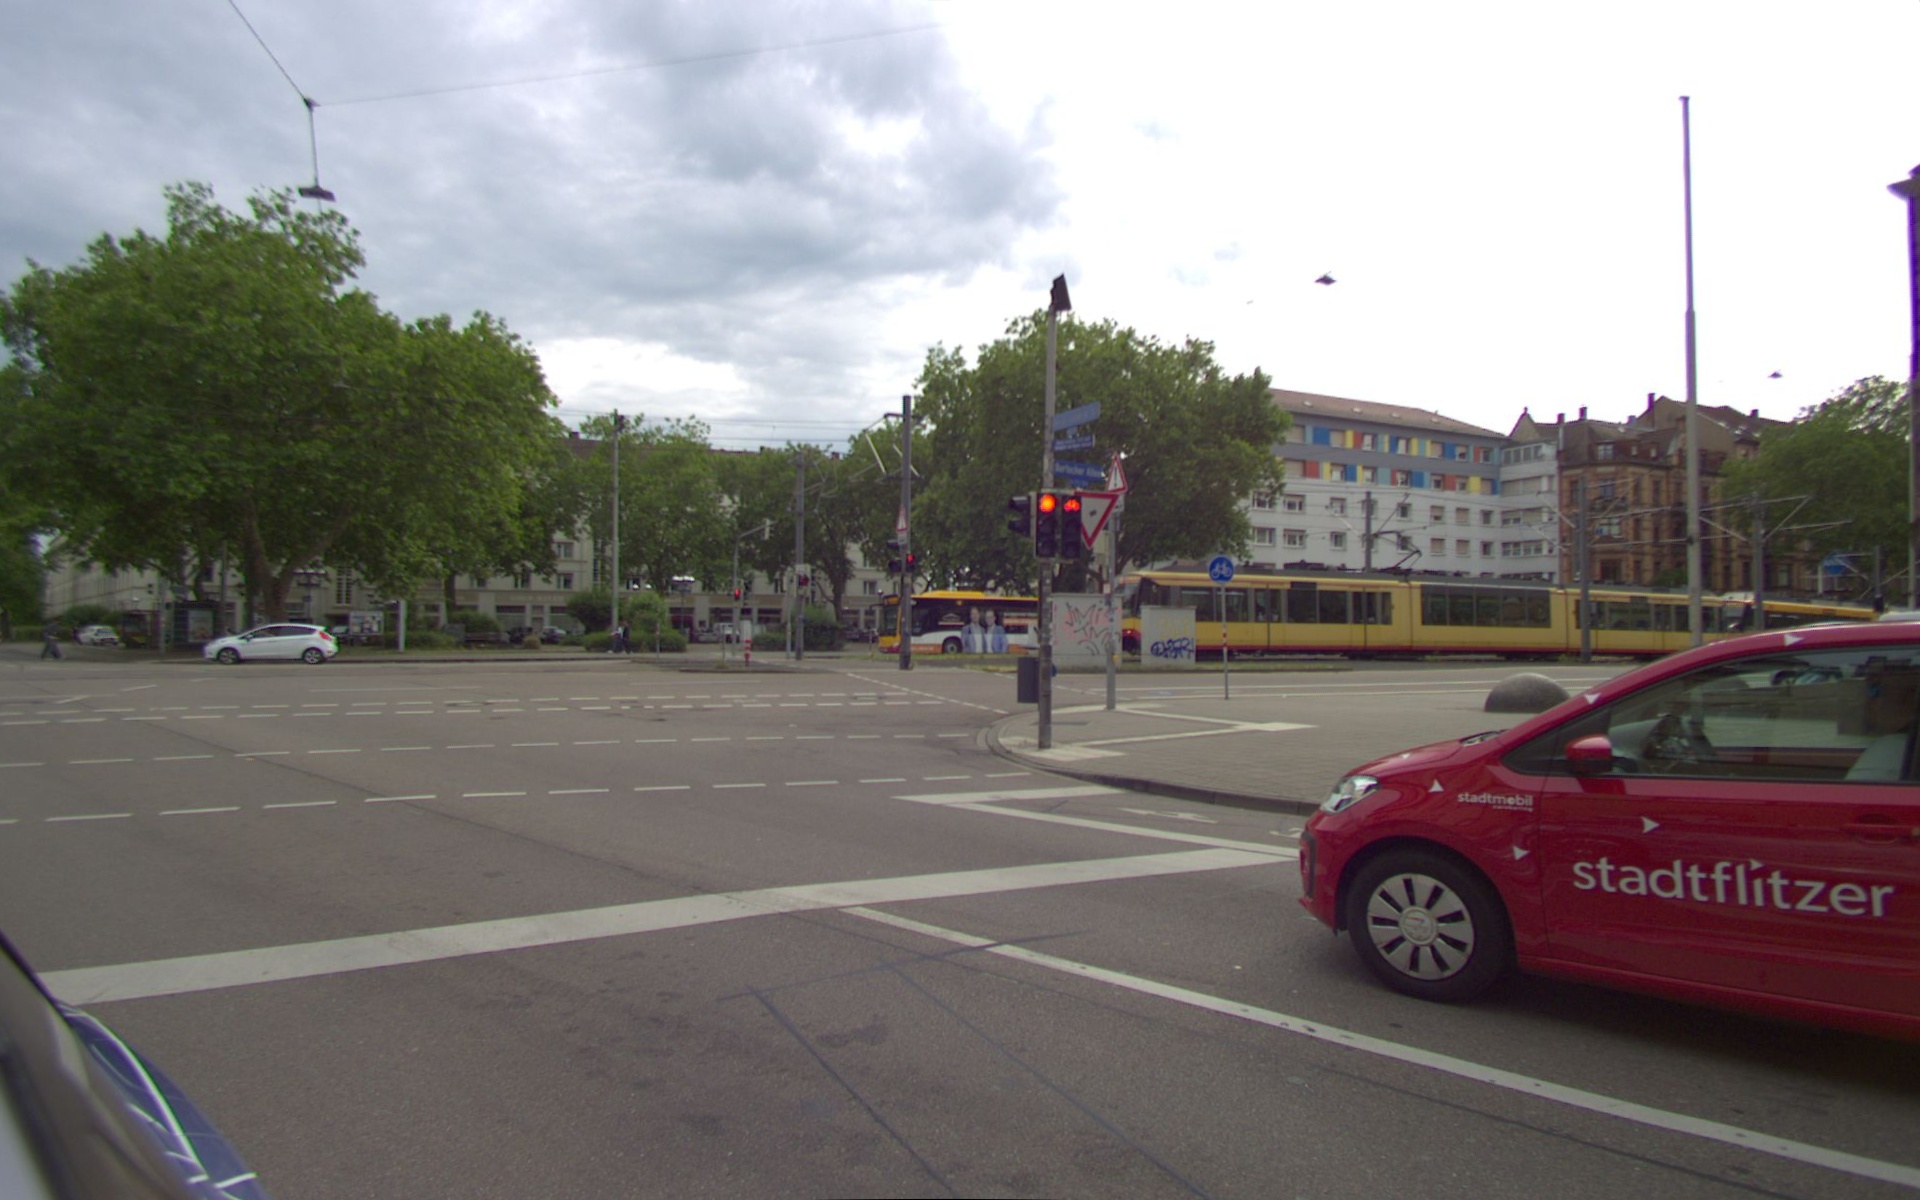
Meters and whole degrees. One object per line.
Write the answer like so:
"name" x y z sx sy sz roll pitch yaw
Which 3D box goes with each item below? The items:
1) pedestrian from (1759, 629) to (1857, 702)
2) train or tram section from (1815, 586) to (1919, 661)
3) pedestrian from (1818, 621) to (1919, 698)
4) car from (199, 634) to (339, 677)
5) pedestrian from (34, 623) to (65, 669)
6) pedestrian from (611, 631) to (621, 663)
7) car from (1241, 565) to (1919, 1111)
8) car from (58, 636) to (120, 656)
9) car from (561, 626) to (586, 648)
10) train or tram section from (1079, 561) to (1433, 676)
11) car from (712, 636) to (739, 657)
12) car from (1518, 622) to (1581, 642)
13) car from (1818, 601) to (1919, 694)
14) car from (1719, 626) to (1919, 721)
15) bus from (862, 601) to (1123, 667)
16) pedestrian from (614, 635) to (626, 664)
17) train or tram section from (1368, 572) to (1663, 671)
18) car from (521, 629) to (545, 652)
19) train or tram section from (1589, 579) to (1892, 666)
"pedestrian" 14.752 1.117 17.607 1.467 1.200 0.741 1 -1 -24
"train or tram section" 57.936 1.416 60.614 15.923 4.124 3.537 1 -1 -23
"pedestrian" 14.959 0.969 16.684 1.045 1.238 0.740 1 -1 -10
"car" -24.375 1.921 35.847 3.823 1.408 1.714 1 -1 -24
"pedestrian" -38.281 1.910 42.550 0.683 1.900 0.685 0 -1 17
"pedestrian" -16.096 2.209 47.357 0.367 1.490 0.363 1 -2 -31
"car" 3.172 0.719 3.578 3.891 1.540 1.632 -2 -5 41
"car" -67.627 3.557 78.606 3.963 1.497 1.793 0 -2 16
"car" -35.546 3.404 93.036 1.965 2.029 4.013 1 -2 -23
"train or tram section" 12.172 0.753 40.855 14.777 4.124 3.667 1 -1 -23
"car" -23.022 4.507 99.183 1.965 2.029 4.013 1 -2 -23
"car" 38.998 2.099 66.919 3.823 1.230 1.714 1 -1 -24
"car" 20.622 0.987 20.539 1.634 1.895 4.641 1 -1 -25
"car" 17.567 1.369 19.567 1.634 1.648 4.377 1 -1 -25
"bus" 1.662 1.555 48.066 12.164 2.878 3.303 1 -1 -24
"pedestrian" -15.727 2.273 46.794 0.462 1.336 0.458 1 -2 -31
"train or tram section" 25.808 0.988 46.703 14.777 4.124 3.593 1 -1 -23
"car" -38.916 3.688 92.305 1.965 2.029 4.013 1 -2 -23
"train or tram section" 41.640 1.202 53.547 19.601 4.124 3.640 1 -1 -23
